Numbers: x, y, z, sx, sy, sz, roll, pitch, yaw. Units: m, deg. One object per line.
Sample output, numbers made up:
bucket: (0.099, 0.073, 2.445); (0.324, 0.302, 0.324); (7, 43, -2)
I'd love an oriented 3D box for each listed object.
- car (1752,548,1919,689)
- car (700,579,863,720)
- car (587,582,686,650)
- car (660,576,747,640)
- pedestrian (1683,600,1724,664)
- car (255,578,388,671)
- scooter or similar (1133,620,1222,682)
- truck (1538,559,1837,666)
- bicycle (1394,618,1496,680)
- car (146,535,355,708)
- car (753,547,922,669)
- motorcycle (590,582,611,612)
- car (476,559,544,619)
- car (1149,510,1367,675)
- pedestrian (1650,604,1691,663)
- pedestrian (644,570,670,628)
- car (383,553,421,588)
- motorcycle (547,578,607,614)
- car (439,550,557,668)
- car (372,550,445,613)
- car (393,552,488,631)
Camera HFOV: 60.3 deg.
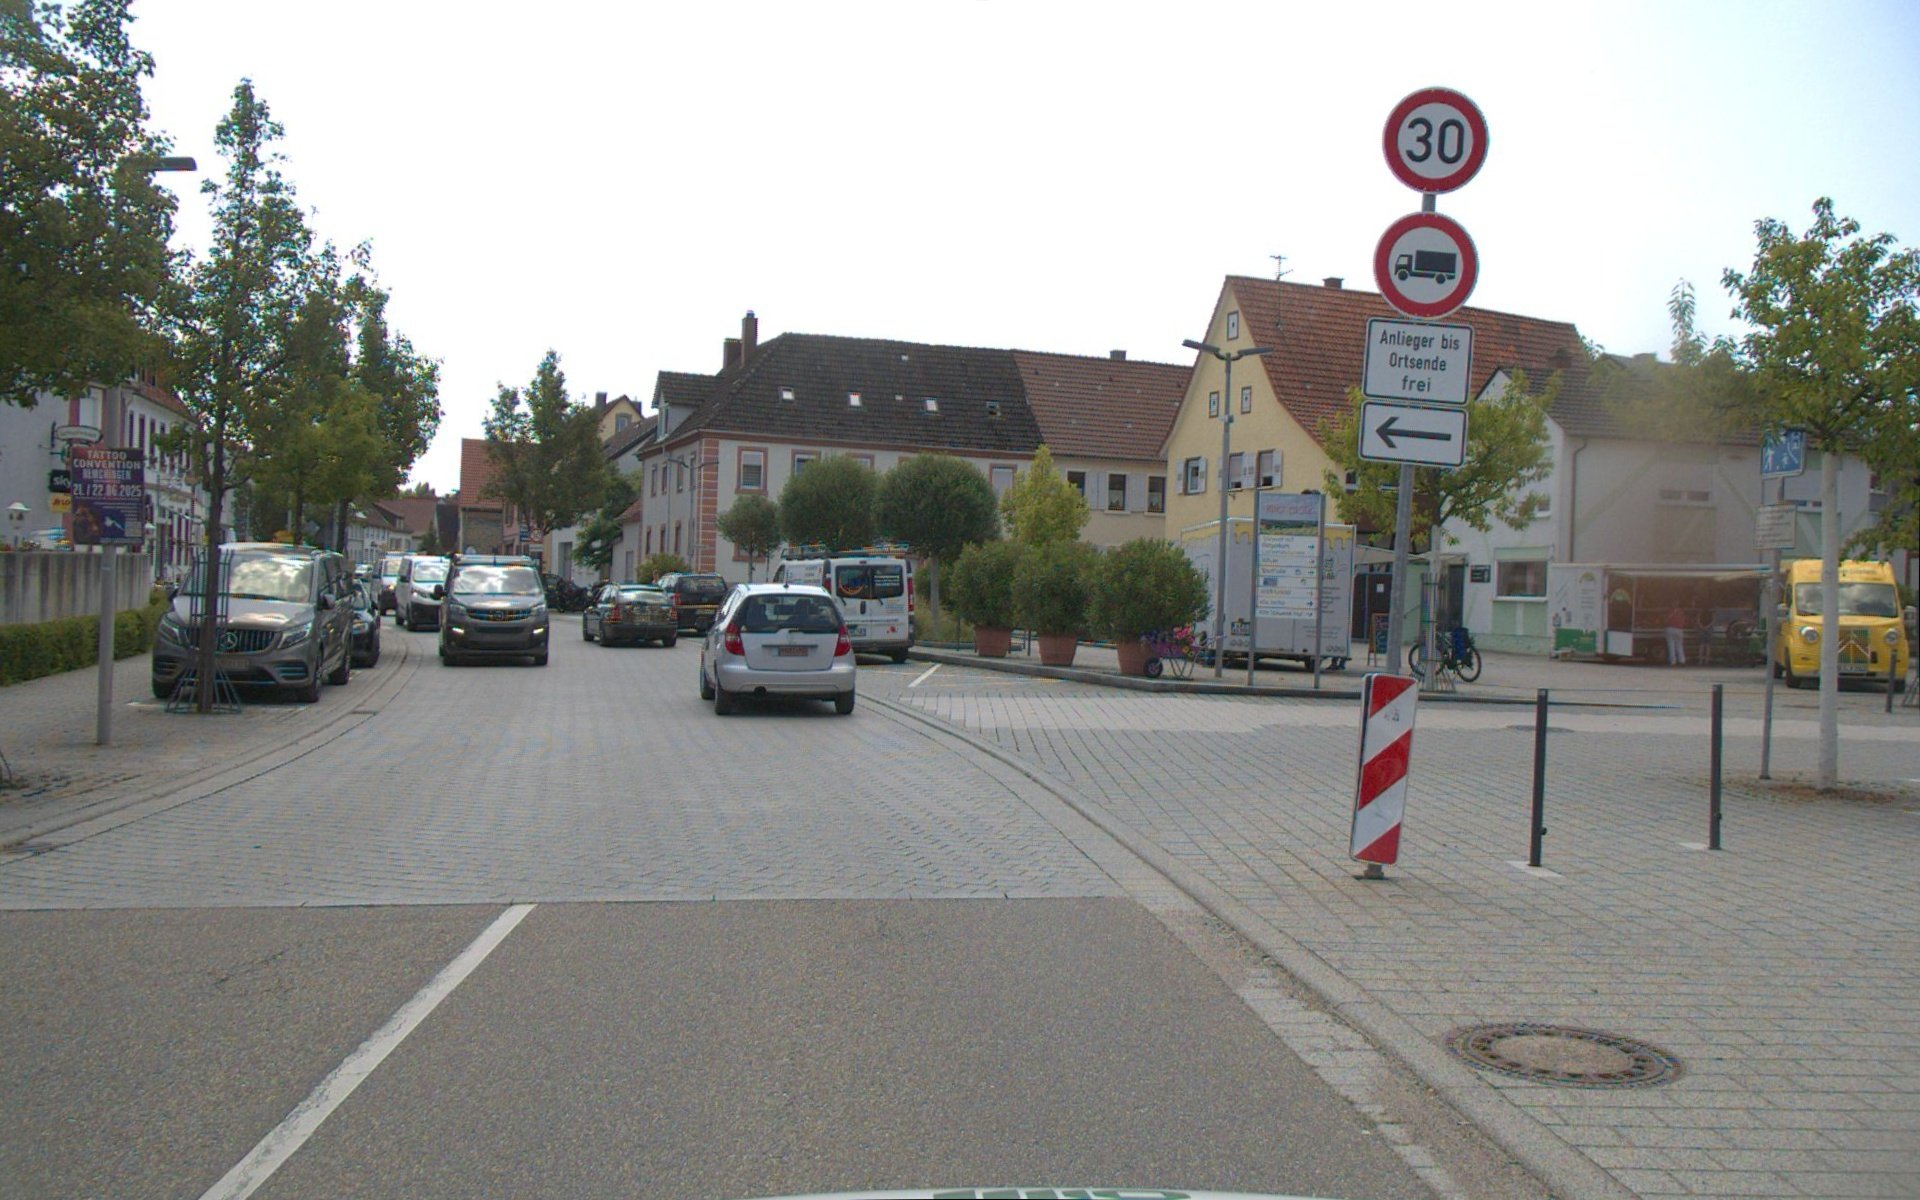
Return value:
car: (17.749, 0.333, 33.721); (2.592, 2.520, 6.961); (1, 0, 24)
car: (-2.429, 0.577, 21.722); (1.737, 1.622, 3.989); (2, 1, -11)
car: (-7.587, 0.339, 38.566); (1.913, 1.432, 3.983); (2, 1, -16)
car: (-6.842, 0.176, 43.720); (1.740, 1.592, 4.399); (1, 0, -16)
pedestrian: (18.661, 0.800, 41.512); (0.549, 1.567, 0.813); (2, 0, -11)
car: (-11.115, 0.378, 29.042); (1.787, 1.448, 4.516); (2, 1, -17)
scooter or similar: (3.295, 0.770, 25.159); (1.121, 0.896, 0.813); (1, 0, -13)
truck: (19.025, 0.323, 43.399); (6.680, 2.541, 2.950); (2, 0, -11)
bicycle: (9.367, 0.937, 32.017); (0.743, 1.087, 2.098); (2, 1, -22)
car: (-9.371, 0.227, 22.246); (1.955, 2.025, 5.021); (2, 1, -17)
car: (-2.520, 0.092, 32.627); (1.915, 2.215, 5.068); (-1, 1, -22)
motorcycle: (-14.590, -0.126, 67.138); (0.518, 1.143, 1.058); (2, 0, -29)
car: (-15.757, -0.380, 57.786); (1.744, 1.920, 4.419); (4, -1, -21)
car: (6.061, -0.132, 34.895); (2.699, 3.014, 7.106); (3, 0, -5)
pedestrian: (17.689, 0.827, 41.192); (0.631, 1.467, 0.759); (1, 0, -12)
pedestrian: (-8.742, -0.026, 47.675); (0.629, 1.657, 0.617); (1, 0, -20)
car: (-30.765, -1.607, 91.132); (1.617, 1.881, 3.579); (1, 0, -24)
motorcycle: (-15.063, -0.159, 64.983); (2.172, 1.419, 0.873); (1, 0, 21)
car: (-8.700, 0.121, 31.477); (1.959, 2.049, 4.723); (1, 1, -14)
car: (-19.084, -0.653, 57.092); (1.967, 2.049, 4.705); (1, 1, -24)
car: (-14.247, -0.261, 45.208); (1.967, 2.049, 4.705); (1, 1, -24)
